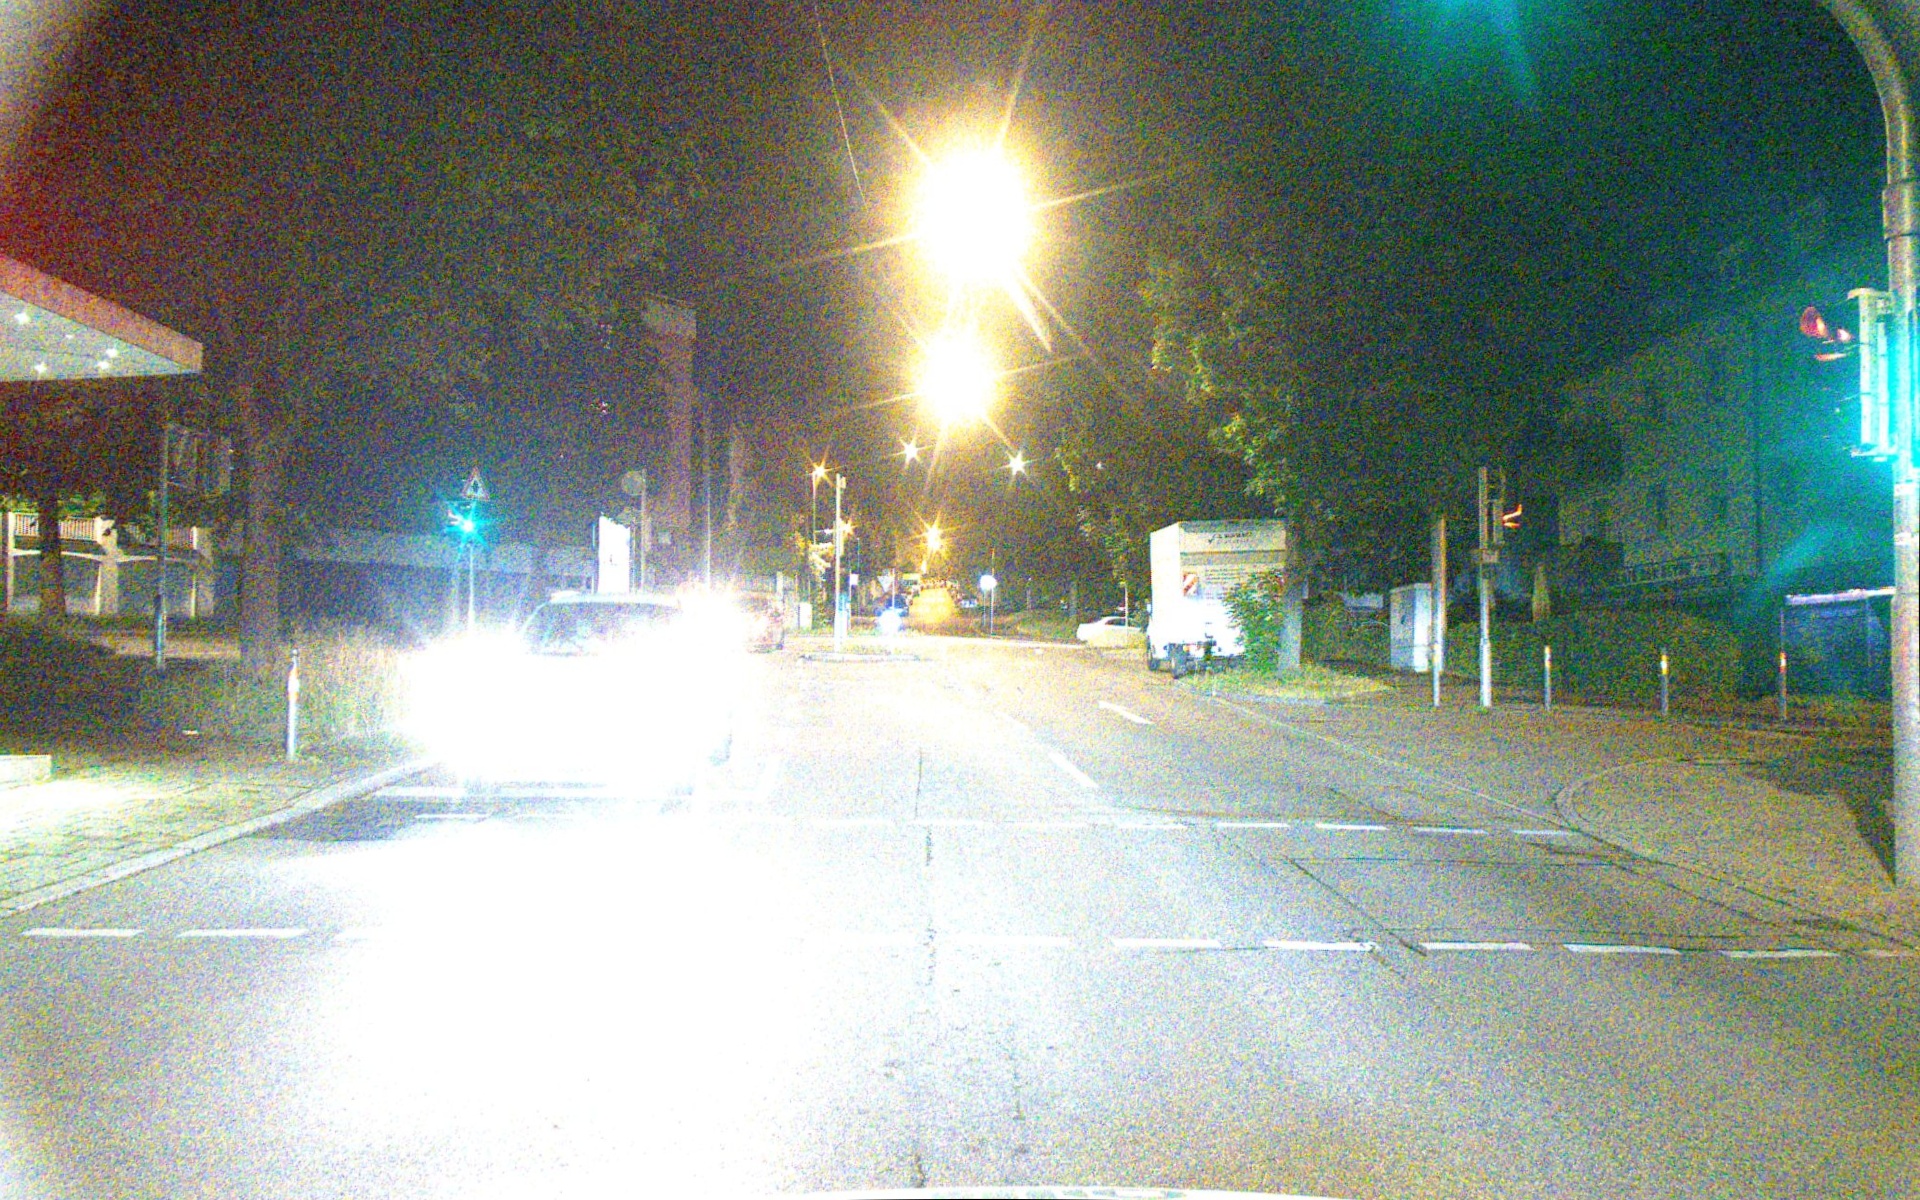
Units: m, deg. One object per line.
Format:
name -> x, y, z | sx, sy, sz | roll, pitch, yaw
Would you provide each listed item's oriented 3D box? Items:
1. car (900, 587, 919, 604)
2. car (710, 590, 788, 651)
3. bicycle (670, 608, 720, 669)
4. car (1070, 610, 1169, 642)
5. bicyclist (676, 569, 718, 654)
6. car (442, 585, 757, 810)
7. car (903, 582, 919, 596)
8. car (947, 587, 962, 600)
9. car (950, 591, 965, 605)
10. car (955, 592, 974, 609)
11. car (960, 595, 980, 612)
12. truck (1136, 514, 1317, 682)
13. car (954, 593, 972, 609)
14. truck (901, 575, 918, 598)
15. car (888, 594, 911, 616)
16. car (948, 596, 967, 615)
car -> -4.879, -0.438, 160.492 | 1.779, 1.517, 3.998 | 1, 0, -2
car -> -5.546, 0.506, 43.713 | 1.549, 1.528, 3.396 | 1, 0, 1
bicycle -> -5.197, 0.743, 32.542 | 0.682, 1.169, 1.950 | 1, 0, -1
car -> 7.479, 1.208, 77.852 | 4.474, 1.413, 1.923 | 1, 0, 0
bicyclist -> -5.202, 0.226, 32.738 | 0.676, 1.666, 0.896 | 1, -1, -1
car -> -2.792, 0.688, 13.712 | 1.820, 1.561, 4.026 | 1, 0, -2
car -> -5.534, -1.207, 186.876 | 1.779, 1.517, 3.998 | 1, 0, -2
car -> -0.652, -0.779, 191.475 | 1.601, 1.477, 3.484 | 1, 0, -1
car -> -0.265, -0.174, 178.507 | 1.601, 1.477, 3.484 | 1, 0, -1
car -> 0.414, 0.062, 153.091 | 1.601, 1.477, 3.484 | 1, 0, -1
car -> 0.876, 0.289, 143.362 | 1.601, 1.477, 3.484 | 1, 0, -1
truck -> 5.411, -0.041, 34.632 | 2.693, 3.165, 6.257 | 1, 0, 0
car -> 0.259, 0.098, 159.273 | 1.601, 1.477, 3.484 | 1, 0, -1
truck -> -6.436, -1.708, 209.500 | 2.044, 2.897, 5.828 | 1, 0, -2
car -> -4.898, 0.366, 134.358 | 1.778, 1.713, 3.999 | 1, 0, -1
car -> -0.224, 0.457, 137.810 | 1.561, 1.502, 3.653 | 1, 0, -1
